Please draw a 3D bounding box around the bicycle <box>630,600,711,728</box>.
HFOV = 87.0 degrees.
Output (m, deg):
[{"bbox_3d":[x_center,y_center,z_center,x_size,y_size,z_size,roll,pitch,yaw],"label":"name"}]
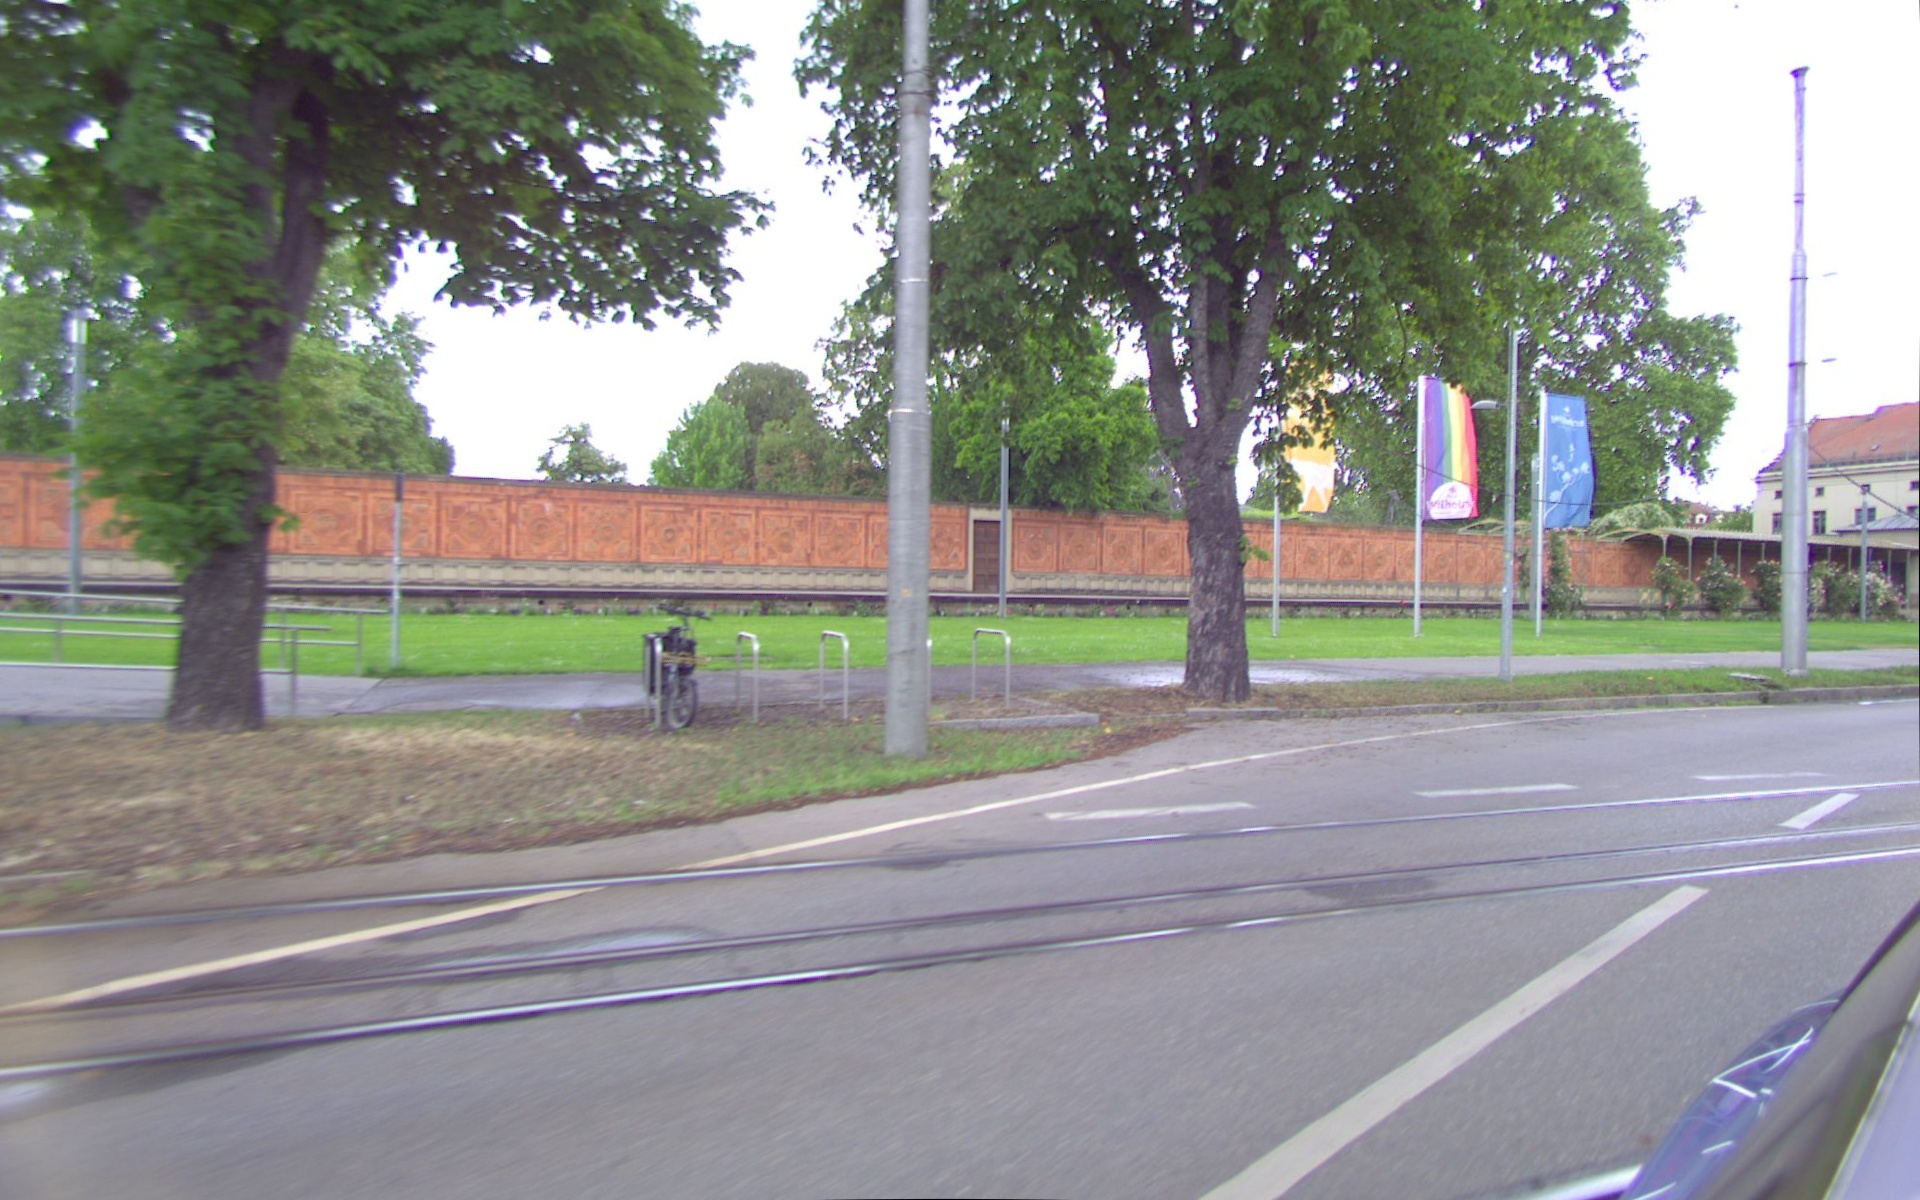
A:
[{"bbox_3d":[-3.077,0.612,10.651,0.725,1.172,2.002,1,1,-18],"label":"bicycle"}]
